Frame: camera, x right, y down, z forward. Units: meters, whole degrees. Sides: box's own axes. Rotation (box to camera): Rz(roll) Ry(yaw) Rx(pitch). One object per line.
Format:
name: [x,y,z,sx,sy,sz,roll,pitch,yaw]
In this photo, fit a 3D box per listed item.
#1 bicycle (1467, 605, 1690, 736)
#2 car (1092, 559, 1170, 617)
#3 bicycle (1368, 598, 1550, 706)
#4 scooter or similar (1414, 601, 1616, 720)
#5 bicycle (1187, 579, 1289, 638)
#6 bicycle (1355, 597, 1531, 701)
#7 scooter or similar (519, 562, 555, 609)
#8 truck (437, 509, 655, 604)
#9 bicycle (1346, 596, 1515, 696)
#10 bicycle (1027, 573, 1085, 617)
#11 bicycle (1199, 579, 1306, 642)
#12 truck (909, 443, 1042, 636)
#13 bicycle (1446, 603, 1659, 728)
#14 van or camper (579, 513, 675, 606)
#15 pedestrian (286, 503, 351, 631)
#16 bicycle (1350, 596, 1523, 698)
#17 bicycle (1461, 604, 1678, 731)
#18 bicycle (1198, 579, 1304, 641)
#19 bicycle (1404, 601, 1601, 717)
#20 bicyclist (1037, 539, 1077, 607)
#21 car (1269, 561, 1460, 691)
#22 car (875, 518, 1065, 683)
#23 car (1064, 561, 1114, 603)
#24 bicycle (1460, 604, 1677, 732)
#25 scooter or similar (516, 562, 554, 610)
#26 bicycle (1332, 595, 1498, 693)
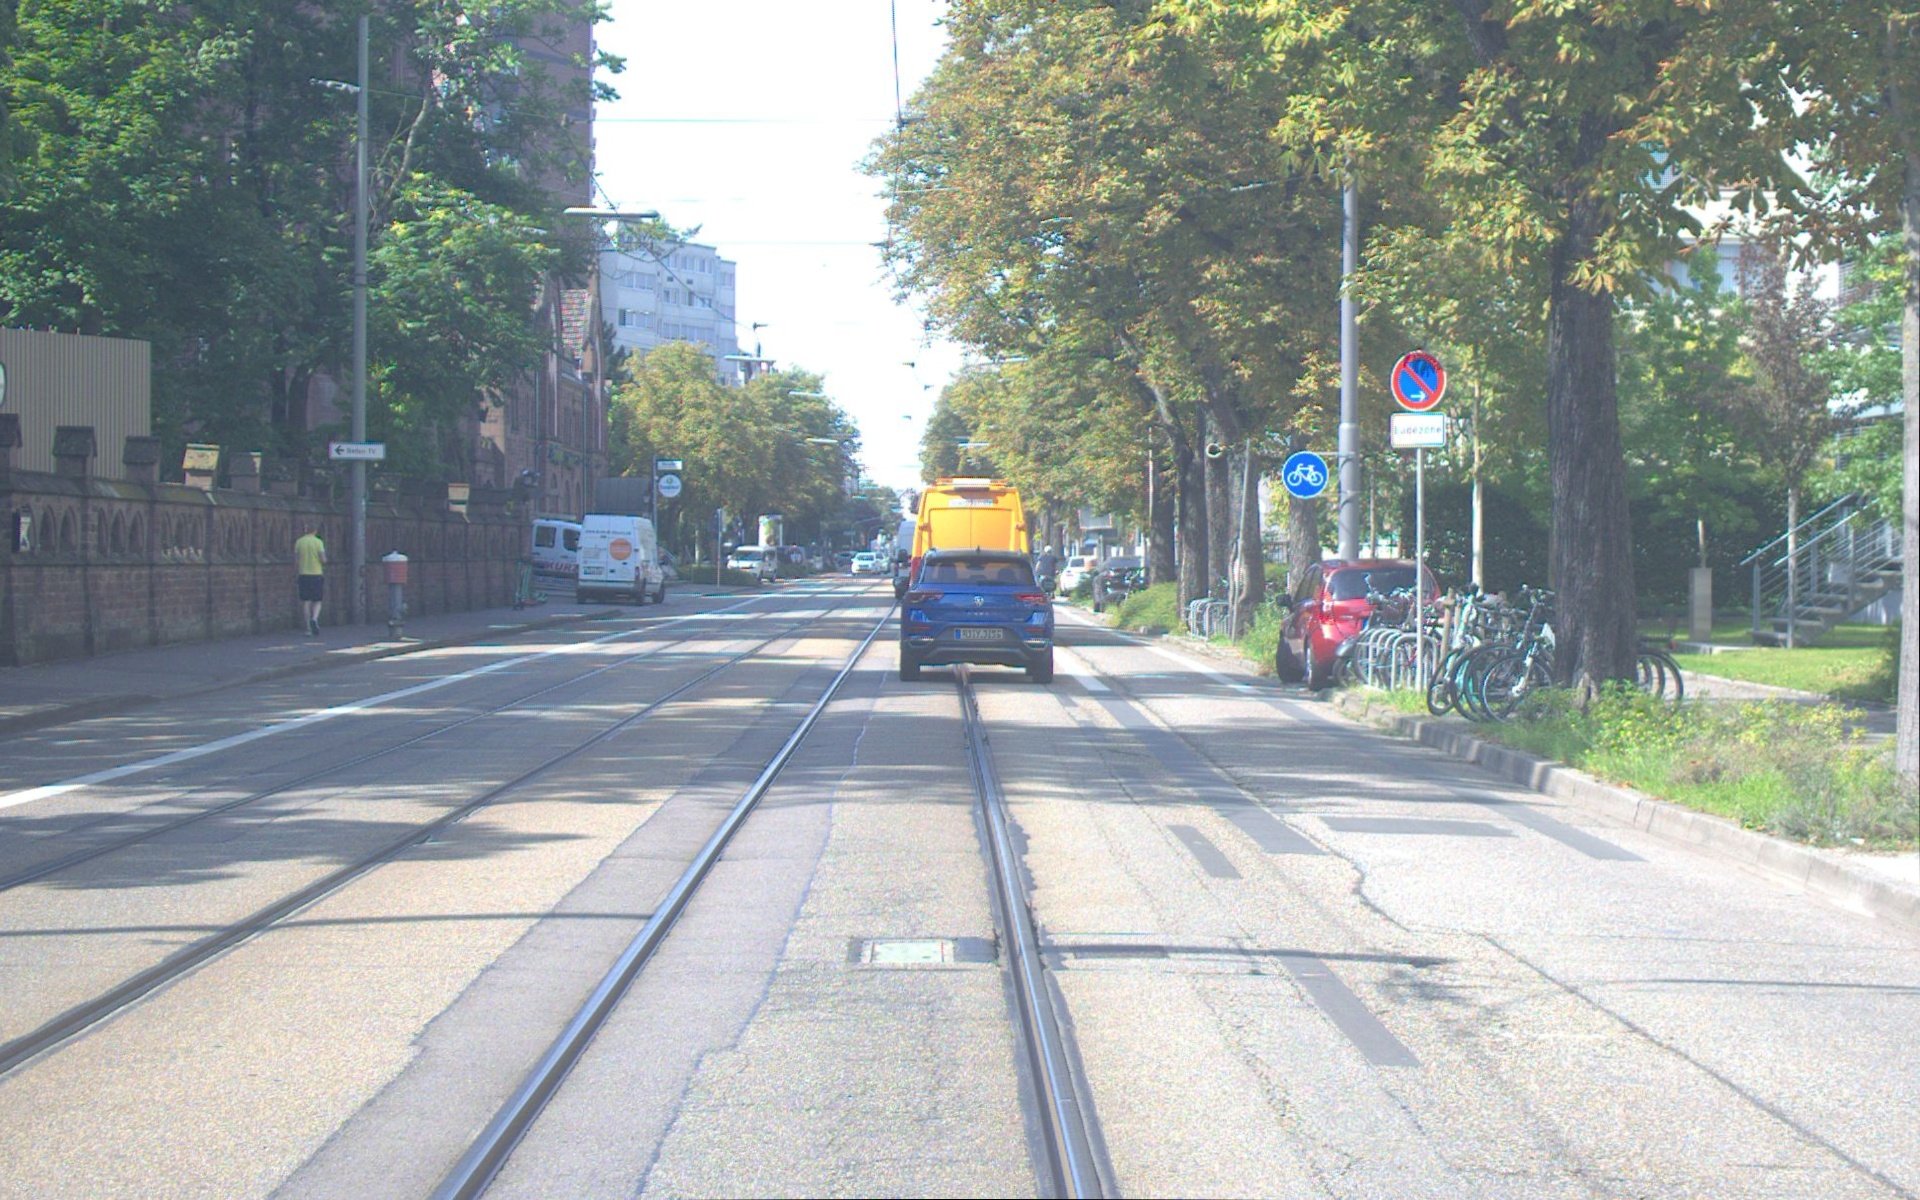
bicycle: [5.203,0.587,28.985,1.771,1.068,0.541,0,1,-1]
car: [4.607,-0.344,93.007,1.756,1.510,4.610,-1,0,-2]
bicycle: [5.083,0.524,35.085,1.771,1.068,0.541,0,1,-1]
scooter or similar: [5.144,0.556,31.914,1.771,1.068,0.541,0,1,-1]
bicycle: [4.997,0.146,61.869,1.771,1.046,0.541,0,1,-1]
bicycle: [5.077,0.513,36.187,1.771,1.068,0.541,0,1,-1]
scooter or similar: [-10.784,-0.367,87.653,0.340,1.174,1.176,1,0,25]
truck: [-12.874,-1.375,107.195,6.322,2.529,2.130,4,2,5]
bicycle: [5.147,0.499,37.672,1.771,1.068,0.541,0,1,-1]
bicycle: [2.558,-0.149,92.184,1.401,1.130,4.000,0,0,0]
bicycle: [4.988,0.177,58.711,1.771,1.046,0.541,0,1,-1]
truck: [0.241,-1.003,58.595,2.135,3.114,6.085,0,0,0]
bicycle: [5.211,0.574,30.281,1.771,1.068,0.541,0,1,-1]
van or camper: [-9.871,-1.193,102.339,2.113,2.666,5.955,1,1,1]
pedestrian: [-10.245,-0.527,54.918,0.864,2.007,0.983,1,0,-2]
bicycle: [5.124,0.505,36.998,1.771,1.068,0.541,0,1,-1]
bicycle: [5.257,0.580,29.703,1.771,1.068,0.541,0,1,-1]
bicycle: [5.029,0.171,59.389,1.771,1.046,0.541,0,1,-1]
bicycle: [5.121,0.550,32.502,1.771,1.068,0.541,0,1,-1]
bicyclist: [2.600,-0.721,92.167,1.031,1.806,1.016,1,0,0]
car: [4.786,0.273,41.140,1.755,1.457,4.275,0,1,0]
car: [0.108,-0.017,41.492,2.135,1.852,5.568,0,1,0]
car: [4.626,-0.636,123.888,1.659,1.476,4.217,0,0,0]
bicycle: [5.247,0.580,29.681,1.771,1.068,0.541,0,1,-1]
scooter or similar: [-10.689,-0.354,86.481,0.340,1.174,1.176,1,0,25]
bicycle: [5.082,0.490,38.447,1.771,1.068,0.541,0,1,-1]
